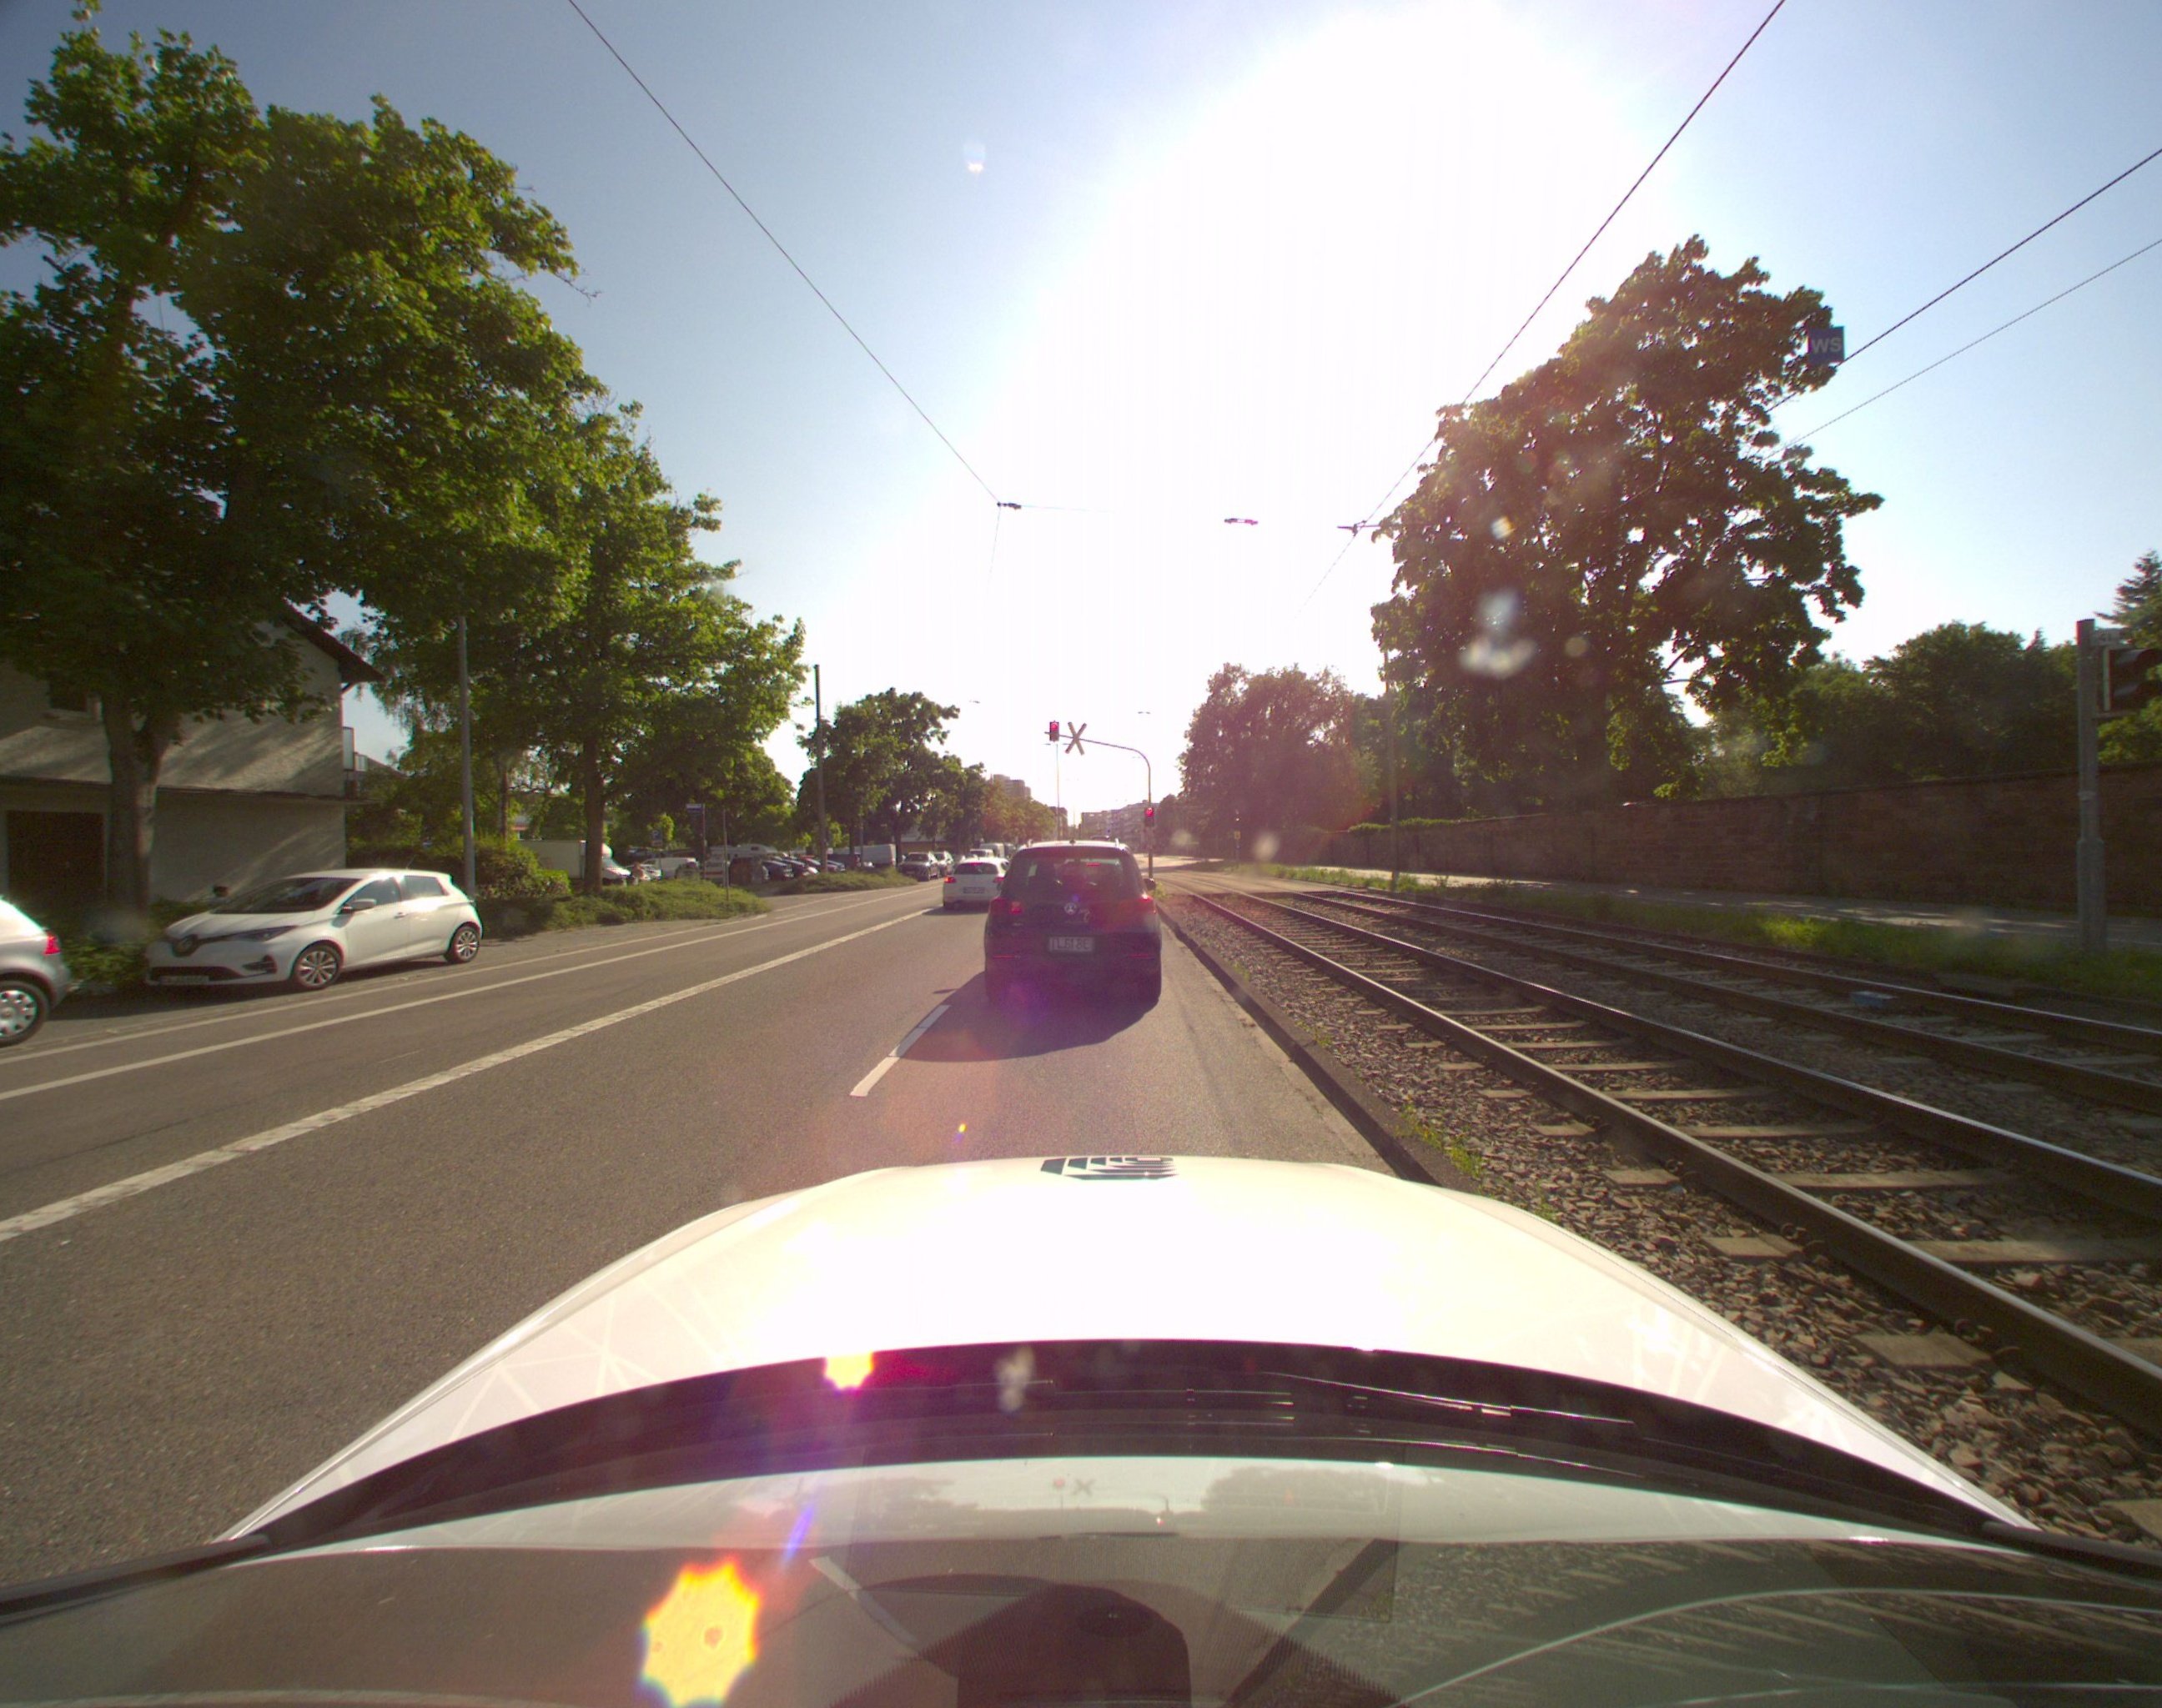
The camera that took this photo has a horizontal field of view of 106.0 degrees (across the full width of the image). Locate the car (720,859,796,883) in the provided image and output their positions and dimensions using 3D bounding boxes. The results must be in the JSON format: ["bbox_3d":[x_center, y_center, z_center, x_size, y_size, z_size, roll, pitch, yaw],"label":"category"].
[{"bbox_3d":[-20.112,1.053,50.804,3.976,1.307,1.736,-2,0,-2],"label":"car"}]

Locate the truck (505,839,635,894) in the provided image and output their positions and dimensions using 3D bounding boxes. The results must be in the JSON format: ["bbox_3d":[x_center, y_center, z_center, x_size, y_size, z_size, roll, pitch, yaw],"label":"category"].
[{"bbox_3d":[-32.588,0.794,52.080,6.941,3.242,1.987,-2,0,-1],"label":"truck"}]

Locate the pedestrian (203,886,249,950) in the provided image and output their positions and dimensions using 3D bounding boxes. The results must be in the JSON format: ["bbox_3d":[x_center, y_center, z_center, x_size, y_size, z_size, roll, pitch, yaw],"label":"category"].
[{"bbox_3d":[-16.206,1.208,15.440,0.344,1.162,0.447,-2,0,9],"label":"pedestrian"}]

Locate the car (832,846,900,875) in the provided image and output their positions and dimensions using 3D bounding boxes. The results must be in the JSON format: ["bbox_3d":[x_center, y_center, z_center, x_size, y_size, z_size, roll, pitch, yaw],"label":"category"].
[{"bbox_3d":[-19.030,0.568,72.255,5.356,2.423,2.088,-2,0,1],"label":"car"}]

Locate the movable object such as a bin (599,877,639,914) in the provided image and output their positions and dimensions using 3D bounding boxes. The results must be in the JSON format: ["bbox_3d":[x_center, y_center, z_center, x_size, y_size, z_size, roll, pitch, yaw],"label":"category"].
[{"bbox_3d":[-15.169,1.356,26.761,0.540,1.146,1.261,-2,0,2],"label":"movable object such as a bin"}]

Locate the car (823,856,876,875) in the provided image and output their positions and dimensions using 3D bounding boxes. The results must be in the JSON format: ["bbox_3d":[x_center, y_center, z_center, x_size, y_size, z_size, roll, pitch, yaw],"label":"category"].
[{"bbox_3d":[-19.541,0.965,68.822,3.976,1.397,1.736,-2,0,-2],"label":"car"}]

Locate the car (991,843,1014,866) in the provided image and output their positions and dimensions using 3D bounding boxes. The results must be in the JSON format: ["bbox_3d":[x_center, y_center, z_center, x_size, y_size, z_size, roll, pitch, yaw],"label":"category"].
[{"bbox_3d":[-8.248,0.052,85.741,1.724,2.268,4.649,-2,0,3],"label":"car"}]

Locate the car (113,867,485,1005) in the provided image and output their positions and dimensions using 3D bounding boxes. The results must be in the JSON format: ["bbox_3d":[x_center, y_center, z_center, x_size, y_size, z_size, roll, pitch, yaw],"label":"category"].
[{"bbox_3d":[-10.738,1.010,11.650,1.596,1.550,3.892,0,0,-1],"label":"car"}]

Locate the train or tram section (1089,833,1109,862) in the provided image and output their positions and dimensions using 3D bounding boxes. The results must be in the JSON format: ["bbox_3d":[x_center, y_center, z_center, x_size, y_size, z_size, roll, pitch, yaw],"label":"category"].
[{"bbox_3d":[2.316,-0.815,104.148,2.318,3.570,8.904,-2,0,2],"label":"train or tram section"}]

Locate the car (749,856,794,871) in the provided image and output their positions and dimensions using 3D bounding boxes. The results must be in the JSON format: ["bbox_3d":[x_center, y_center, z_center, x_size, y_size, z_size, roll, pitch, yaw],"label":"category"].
[{"bbox_3d":[-32.507,0.997,85.549,3.976,1.397,1.736,-2,0,-2],"label":"car"}]

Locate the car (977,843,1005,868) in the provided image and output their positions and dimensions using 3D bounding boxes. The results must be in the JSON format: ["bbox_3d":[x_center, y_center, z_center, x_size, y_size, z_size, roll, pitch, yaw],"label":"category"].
[{"bbox_3d":[-8.658,0.133,78.917,1.856,2.347,4.989,-2,0,3],"label":"car"}]

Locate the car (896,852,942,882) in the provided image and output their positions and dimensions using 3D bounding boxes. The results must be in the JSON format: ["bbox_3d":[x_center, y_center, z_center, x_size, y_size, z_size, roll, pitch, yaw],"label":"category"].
[{"bbox_3d":[-9.742,0.742,49.172,1.724,1.657,4.003,-2,0,3],"label":"car"}]

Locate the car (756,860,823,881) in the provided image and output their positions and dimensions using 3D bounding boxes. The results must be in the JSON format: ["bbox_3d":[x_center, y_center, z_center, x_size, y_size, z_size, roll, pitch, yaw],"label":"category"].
[{"bbox_3d":[-20.243,1.127,56.687,3.976,1.307,1.736,-2,0,-2],"label":"car"}]

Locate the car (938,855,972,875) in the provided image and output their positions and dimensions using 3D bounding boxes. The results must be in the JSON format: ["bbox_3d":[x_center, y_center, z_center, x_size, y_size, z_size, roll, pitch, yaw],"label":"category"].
[{"bbox_3d":[-9.433,0.796,61.044,1.724,1.389,3.738,-2,1,3],"label":"car"}]

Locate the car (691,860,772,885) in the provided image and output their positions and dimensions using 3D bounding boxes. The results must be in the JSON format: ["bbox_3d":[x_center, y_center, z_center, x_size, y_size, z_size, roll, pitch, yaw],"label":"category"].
[{"bbox_3d":[-20.713,1.100,48.403,3.976,1.307,1.736,-2,0,-2],"label":"car"}]

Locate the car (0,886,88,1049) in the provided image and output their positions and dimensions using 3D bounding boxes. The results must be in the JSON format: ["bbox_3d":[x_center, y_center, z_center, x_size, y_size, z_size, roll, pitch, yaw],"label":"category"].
[{"bbox_3d":[-10.758,1.084,6.135,1.672,1.468,3.967,-1,0,-1],"label":"car"}]

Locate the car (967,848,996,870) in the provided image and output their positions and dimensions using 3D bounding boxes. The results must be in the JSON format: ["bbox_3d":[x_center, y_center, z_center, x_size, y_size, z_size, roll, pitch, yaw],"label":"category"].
[{"bbox_3d":[-8.782,0.437,72.241,1.724,1.860,4.493,-2,0,3],"label":"car"}]

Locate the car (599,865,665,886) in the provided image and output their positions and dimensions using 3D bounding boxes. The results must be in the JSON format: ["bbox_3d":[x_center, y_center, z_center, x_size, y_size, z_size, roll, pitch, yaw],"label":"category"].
[{"bbox_3d":[-32.999,1.595,59.939,3.966,1.361,1.630,-2,0,6],"label":"car"}]

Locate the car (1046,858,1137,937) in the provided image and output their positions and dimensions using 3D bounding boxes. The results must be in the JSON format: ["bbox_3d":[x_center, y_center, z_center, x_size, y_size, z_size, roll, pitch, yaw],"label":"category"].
[{"bbox_3d":[0.266,0.819,17.213,1.663,1.386,4.002,-2,0,2],"label":"car"}]

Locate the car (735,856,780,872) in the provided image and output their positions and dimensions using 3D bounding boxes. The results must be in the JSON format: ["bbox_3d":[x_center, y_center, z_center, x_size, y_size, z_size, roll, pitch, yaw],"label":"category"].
[{"bbox_3d":[-31.925,1.009,80.363,3.653,1.397,1.736,-2,0,-2],"label":"car"}]

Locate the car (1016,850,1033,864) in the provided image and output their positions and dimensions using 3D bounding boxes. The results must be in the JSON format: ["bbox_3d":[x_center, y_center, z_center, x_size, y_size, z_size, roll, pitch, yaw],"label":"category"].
[{"bbox_3d":[-7.544,0.381,108.772,1.724,1.694,4.004,-2,1,3],"label":"car"}]

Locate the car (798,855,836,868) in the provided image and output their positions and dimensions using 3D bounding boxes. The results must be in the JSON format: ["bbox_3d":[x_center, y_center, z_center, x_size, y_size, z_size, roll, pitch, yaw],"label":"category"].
[{"bbox_3d":[-31.559,0.888,97.454,3.976,1.397,1.736,-2,0,-2],"label":"car"}]

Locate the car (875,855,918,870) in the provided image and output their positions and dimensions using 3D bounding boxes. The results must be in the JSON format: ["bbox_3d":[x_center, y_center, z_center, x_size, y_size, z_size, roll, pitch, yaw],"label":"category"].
[{"bbox_3d":[-18.811,0.881,83.168,3.976,1.397,1.736,-2,0,-2],"label":"car"}]

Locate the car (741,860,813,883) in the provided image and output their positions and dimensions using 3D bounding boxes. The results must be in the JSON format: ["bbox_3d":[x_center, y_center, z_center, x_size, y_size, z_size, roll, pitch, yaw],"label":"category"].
[{"bbox_3d":[-19.902,1.134,53.398,3.976,1.307,1.736,-2,0,-2],"label":"car"}]

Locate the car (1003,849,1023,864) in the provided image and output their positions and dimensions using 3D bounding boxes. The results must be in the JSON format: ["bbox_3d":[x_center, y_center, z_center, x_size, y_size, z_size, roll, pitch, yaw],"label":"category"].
[{"bbox_3d":[-8.117,0.276,97.392,1.724,1.694,4.004,-2,1,3],"label":"car"}]

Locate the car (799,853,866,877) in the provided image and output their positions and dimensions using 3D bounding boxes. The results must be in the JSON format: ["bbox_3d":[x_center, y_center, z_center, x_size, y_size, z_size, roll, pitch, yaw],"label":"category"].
[{"bbox_3d":[-19.549,0.862,64.249,4.604,1.651,2.049,-2,0,-1],"label":"car"}]

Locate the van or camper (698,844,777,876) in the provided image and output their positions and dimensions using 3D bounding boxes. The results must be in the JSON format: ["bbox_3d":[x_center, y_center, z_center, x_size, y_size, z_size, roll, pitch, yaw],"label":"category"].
[{"bbox_3d":[-32.507,0.569,77.205,6.439,2.868,2.308,-1,0,2],"label":"van or camper"}]

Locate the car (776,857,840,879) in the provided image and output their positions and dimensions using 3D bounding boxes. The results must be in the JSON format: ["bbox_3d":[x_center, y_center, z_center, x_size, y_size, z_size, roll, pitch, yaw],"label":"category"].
[{"bbox_3d":[-19.715,1.015,58.893,3.976,1.397,1.736,-2,0,-2],"label":"car"}]

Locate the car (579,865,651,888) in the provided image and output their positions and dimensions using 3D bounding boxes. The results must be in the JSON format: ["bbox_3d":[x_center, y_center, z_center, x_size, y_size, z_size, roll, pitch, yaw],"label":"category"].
[{"bbox_3d":[-32.645,1.554,57.094,3.976,1.457,1.736,-2,0,-2],"label":"car"}]

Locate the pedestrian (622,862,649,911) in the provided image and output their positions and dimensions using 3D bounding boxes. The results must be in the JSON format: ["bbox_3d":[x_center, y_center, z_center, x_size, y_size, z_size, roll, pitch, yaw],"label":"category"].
[{"bbox_3d":[-15.133,1.103,27.701,0.522,1.628,0.610,-2,0,1],"label":"pedestrian"}]

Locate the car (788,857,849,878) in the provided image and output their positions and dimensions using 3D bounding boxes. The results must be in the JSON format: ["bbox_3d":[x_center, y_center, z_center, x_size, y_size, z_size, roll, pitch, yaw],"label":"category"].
[{"bbox_3d":[-19.902,1.005,61.866,3.976,1.397,1.736,-2,0,-2],"label":"car"}]

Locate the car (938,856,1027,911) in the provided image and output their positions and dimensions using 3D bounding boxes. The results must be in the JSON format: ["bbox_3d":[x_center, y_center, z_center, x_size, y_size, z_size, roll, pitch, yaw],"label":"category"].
[{"bbox_3d":[-2.660,0.751,22.857,1.858,1.348,4.002,-1,0,2],"label":"car"}]

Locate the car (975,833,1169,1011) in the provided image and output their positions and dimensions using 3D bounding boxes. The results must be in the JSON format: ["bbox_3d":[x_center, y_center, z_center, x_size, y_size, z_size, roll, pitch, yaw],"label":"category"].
[{"bbox_3d":[-0.022,0.638,9.636,1.804,1.644,4.002,-1,0,2],"label":"car"}]

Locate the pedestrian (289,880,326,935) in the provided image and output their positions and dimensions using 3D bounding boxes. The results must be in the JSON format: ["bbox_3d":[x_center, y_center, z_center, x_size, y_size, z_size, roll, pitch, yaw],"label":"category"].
[{"bbox_3d":[-17.553,1.209,18.476,0.442,1.217,0.392,-2,0,9],"label":"pedestrian"}]

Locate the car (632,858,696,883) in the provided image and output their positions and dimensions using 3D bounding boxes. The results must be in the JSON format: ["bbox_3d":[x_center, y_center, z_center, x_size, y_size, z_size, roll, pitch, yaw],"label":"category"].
[{"bbox_3d":[-31.802,1.275,62.177,3.981,1.728,1.624,-2,0,-6],"label":"car"}]

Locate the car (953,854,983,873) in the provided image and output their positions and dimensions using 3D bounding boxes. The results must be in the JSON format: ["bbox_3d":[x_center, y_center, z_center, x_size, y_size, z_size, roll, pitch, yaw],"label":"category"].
[{"bbox_3d":[-9.248,0.745,66.928,1.724,1.450,3.738,-2,1,3],"label":"car"}]

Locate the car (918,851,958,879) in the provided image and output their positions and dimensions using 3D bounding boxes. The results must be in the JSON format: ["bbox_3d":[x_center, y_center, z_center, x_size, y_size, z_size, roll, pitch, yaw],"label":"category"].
[{"bbox_3d":[-9.536,0.689,54.656,1.724,1.694,4.004,-2,1,3],"label":"car"}]
